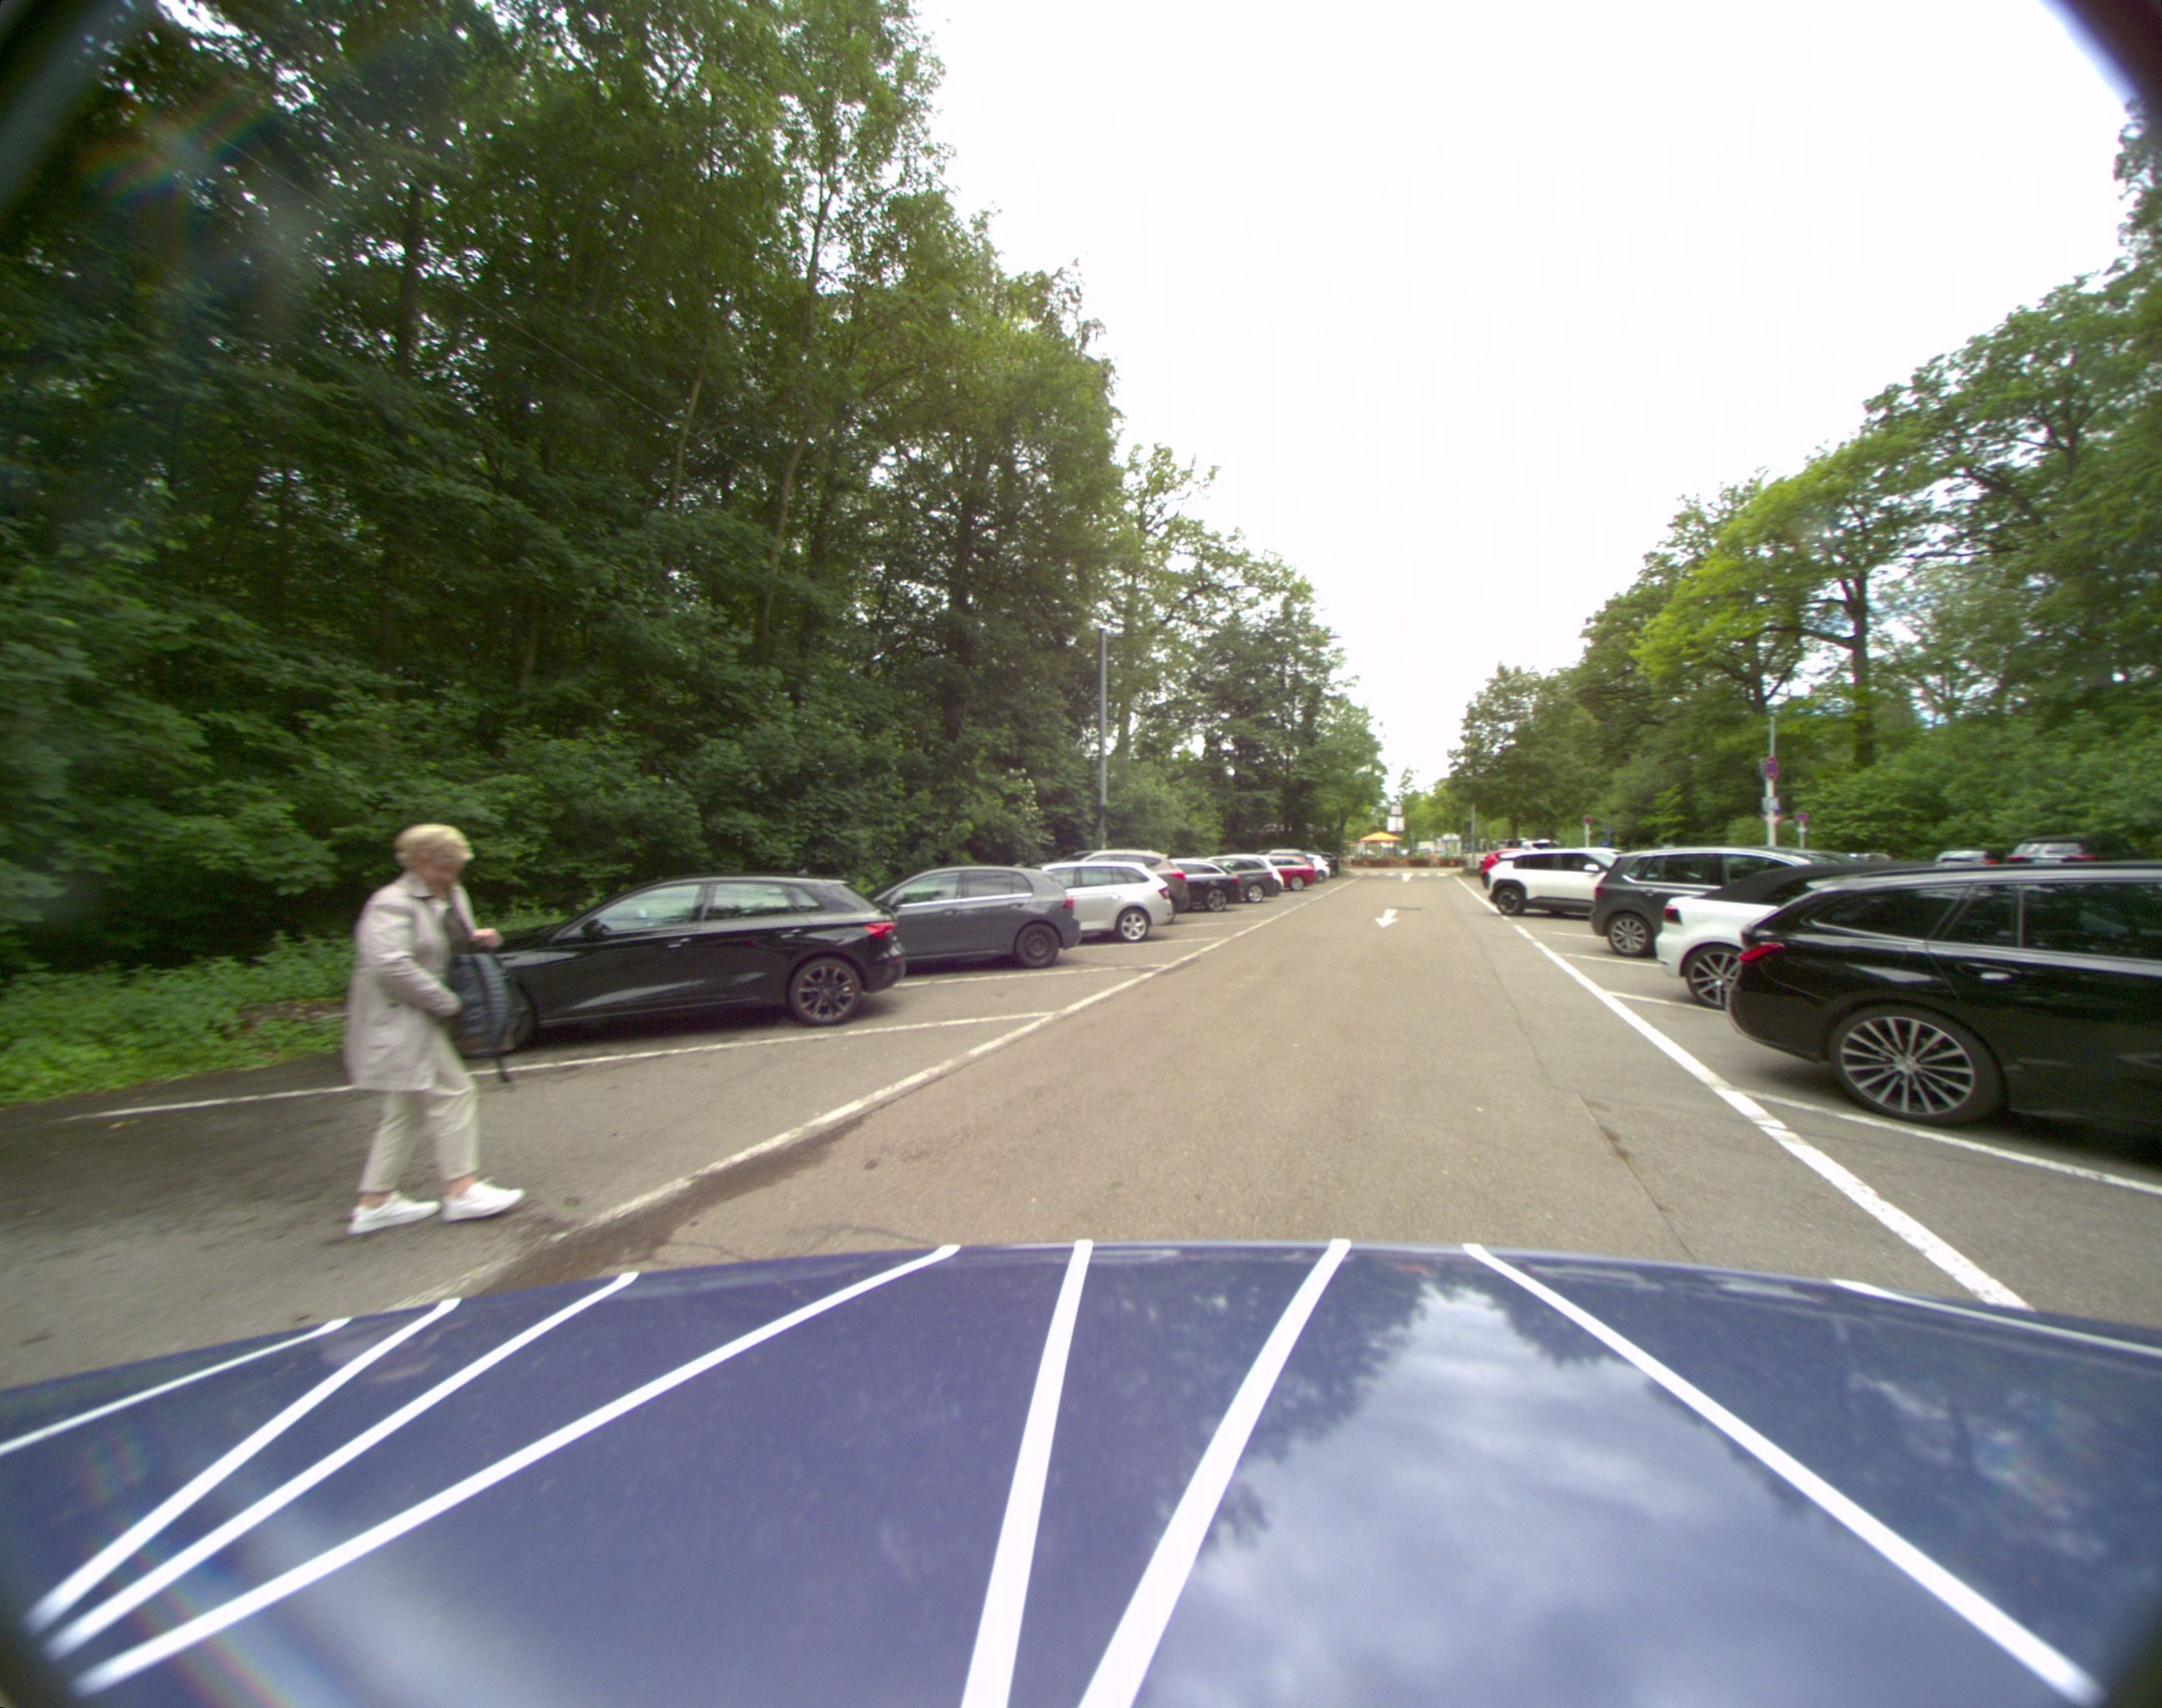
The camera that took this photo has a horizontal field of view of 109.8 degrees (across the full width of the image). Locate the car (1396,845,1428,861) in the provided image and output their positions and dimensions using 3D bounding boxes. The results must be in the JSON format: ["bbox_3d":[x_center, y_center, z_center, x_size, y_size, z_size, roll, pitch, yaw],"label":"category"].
[{"bbox_3d":[34.124,-0.125,78.469,1.933,1.660,4.348,0,1,9],"label":"car"}]

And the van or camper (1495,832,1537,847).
[{"bbox_3d":[83.690,-2.727,146.059,7.342,2.833,2.201,-1,1,-11],"label":"van or camper"}]

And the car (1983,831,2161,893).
[{"bbox_3d":[30.555,0.197,23.405,4.713,1.757,2.108,-1,1,-20],"label":"car"}]

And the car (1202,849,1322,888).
[{"bbox_3d":[7.256,0.551,30.612,4.299,1.405,1.925,-1,1,-17],"label":"car"}]

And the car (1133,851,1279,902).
[{"bbox_3d":[3.902,0.656,23.782,4.191,1.449,1.801,-1,1,-21],"label":"car"}]

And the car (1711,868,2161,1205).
[{"bbox_3d":[5.781,0.838,3.370,1.762,1.435,4.270,-1,1,-23],"label":"car"}]

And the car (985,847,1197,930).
[{"bbox_3d":[0.203,0.678,16.860,4.267,1.627,1.962,-1,1,-21],"label":"car"}]

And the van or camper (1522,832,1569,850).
[{"bbox_3d":[75.894,-2.177,124.084,7.345,2.833,2.065,-1,1,-16],"label":"van or camper"}]

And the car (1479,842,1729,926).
[{"bbox_3d":[11.219,0.555,16.679,1.849,1.587,4.181,-1,0,-23],"label":"car"}]

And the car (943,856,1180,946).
[{"bbox_3d":[-0.408,0.775,13.923,4.003,1.458,1.832,0,0,-17],"label":"car"}]

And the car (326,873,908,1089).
[{"bbox_3d":[-3.924,0.987,7.246,4.209,1.454,1.896,-1,0,-20],"label":"car"}]

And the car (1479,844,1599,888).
[{"bbox_3d":[17.446,0.412,29.128,1.689,1.576,3.647,-1,1,-24],"label":"car"}]

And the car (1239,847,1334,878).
[{"bbox_3d":[10.101,0.397,37.396,4.123,1.430,1.867,-1,1,-18],"label":"car"}]

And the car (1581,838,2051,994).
[{"bbox_3d":[9.052,0.622,9.845,1.849,1.578,3.970,0,0,-21],"label":"car"}]

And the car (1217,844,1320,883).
[{"bbox_3d":[8.383,0.379,33.970,4.123,1.608,1.839,-1,1,-18],"label":"car"}]

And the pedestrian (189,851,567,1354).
[{"bbox_3d":[-2.857,0.853,3.157,0.762,1.715,0.898,0,1,25],"label":"pedestrian"}]

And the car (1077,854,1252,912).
[{"bbox_3d":[2.234,0.716,20.424,4.267,1.369,1.961,-1,1,-23],"label":"car"}]

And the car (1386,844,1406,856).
[{"bbox_3d":[50.339,-0.637,121.642,1.875,1.769,4.298,0,0,7],"label":"car"}]

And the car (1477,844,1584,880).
[{"bbox_3d":[20.691,0.324,35.181,1.832,1.514,4.093,-1,1,-18],"label":"car"}]

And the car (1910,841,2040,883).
[{"bbox_3d":[31.850,0.259,27.087,4.004,1.368,1.737,-1,1,-20],"label":"car"}]

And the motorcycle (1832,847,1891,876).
[{"bbox_3d":[32.923,0.308,32.038,2.030,1.201,0.730,-1,1,-11],"label":"motorcycle"}]

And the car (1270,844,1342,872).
[{"bbox_3d":[13.110,0.210,44.283,3.796,1.483,1.696,-1,1,-22],"label":"car"}]

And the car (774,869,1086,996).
[{"bbox_3d":[-2.143,0.975,10.735,4.004,1.414,1.906,-1,1,-21],"label":"car"}]

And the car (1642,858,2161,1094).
[{"bbox_3d":[7.202,0.779,6.235,1.774,1.435,3.839,-1,1,-21],"label":"car"}]

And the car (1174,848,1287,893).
[{"bbox_3d":[5.333,0.545,27.166,3.585,1.496,1.732,-1,1,-19],"label":"car"}]
